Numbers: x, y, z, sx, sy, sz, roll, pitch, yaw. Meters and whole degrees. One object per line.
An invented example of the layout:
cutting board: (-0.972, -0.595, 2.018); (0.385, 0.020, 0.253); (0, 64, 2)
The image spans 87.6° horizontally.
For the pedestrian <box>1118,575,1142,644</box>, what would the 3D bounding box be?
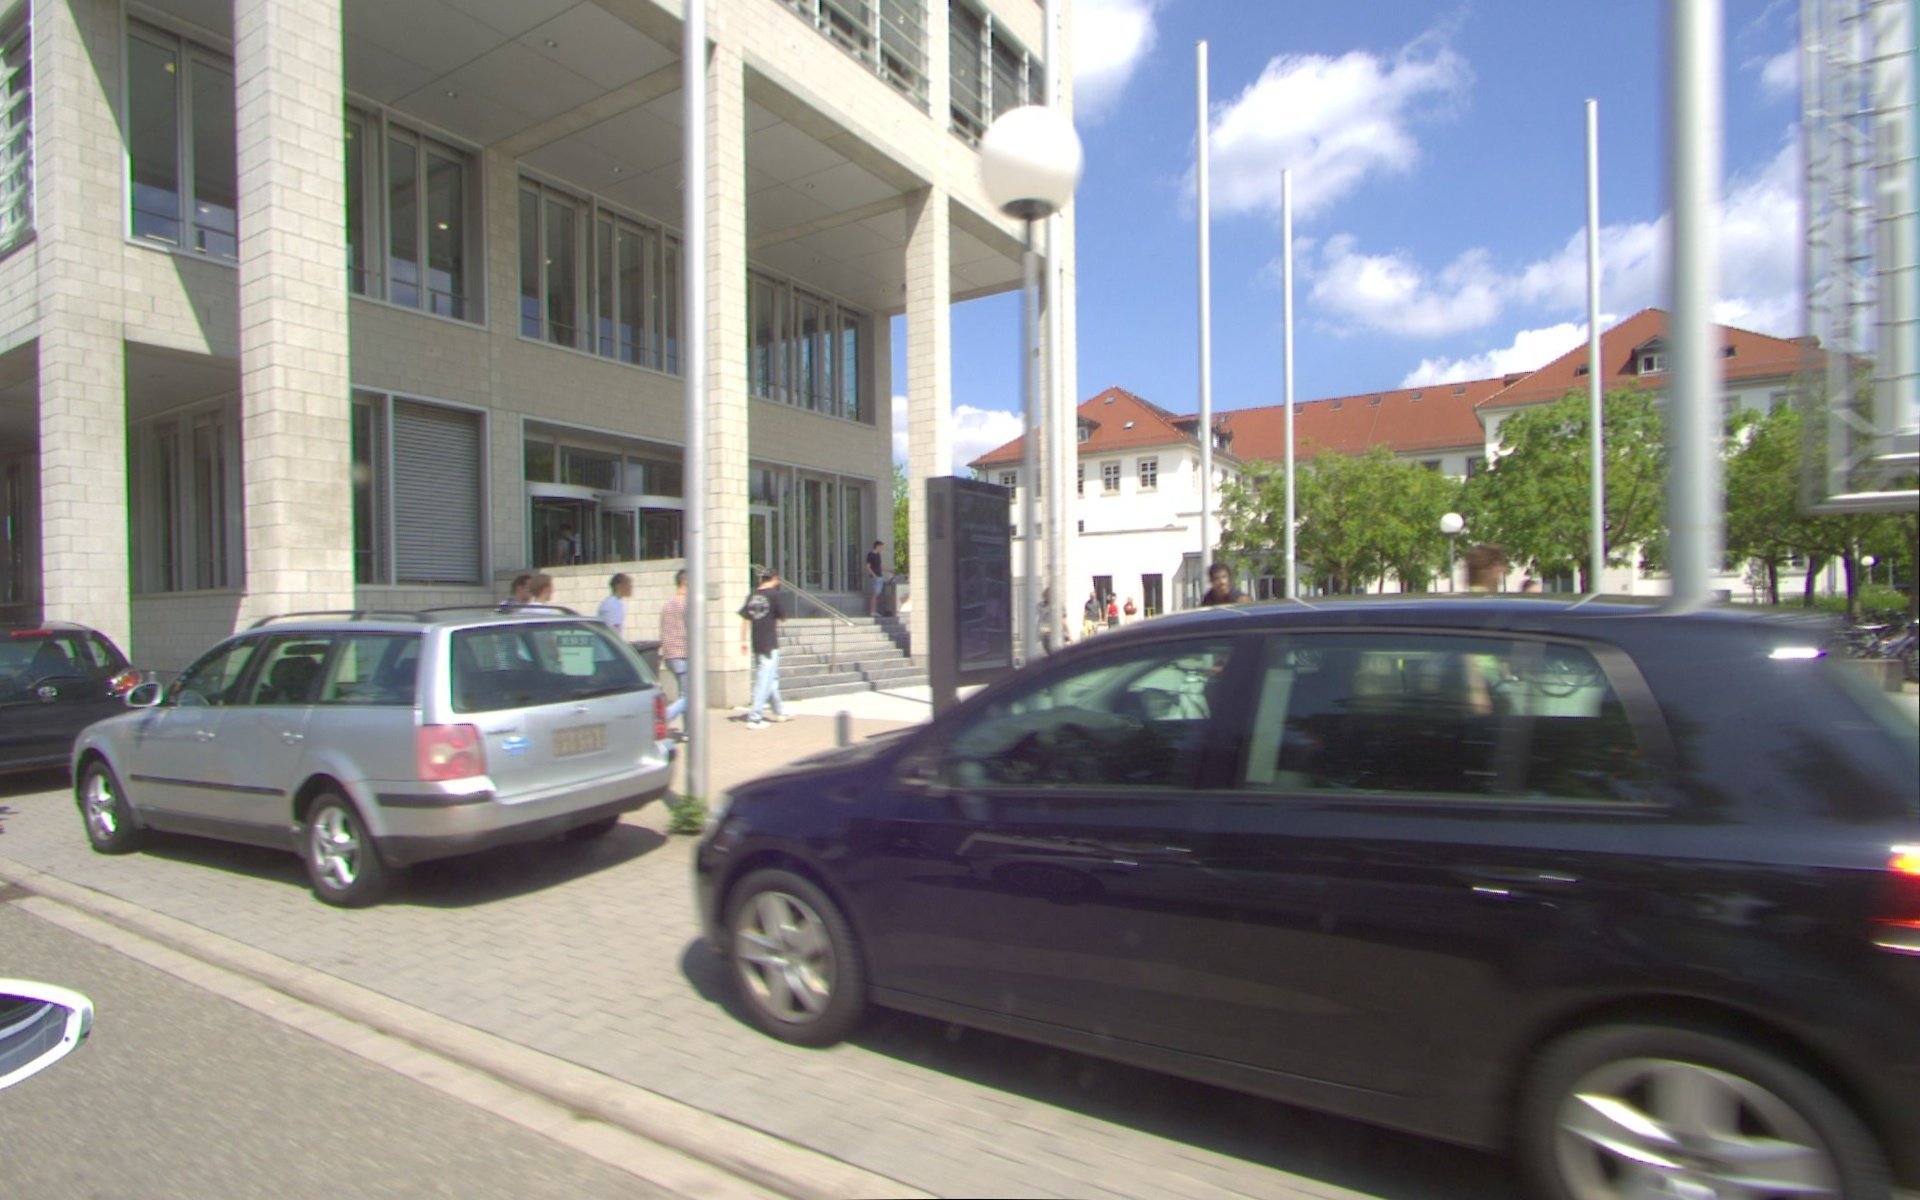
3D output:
pedestrian: (5.704, 0.319, 33.592); (0.622, 2.258, 0.716); (-2, 0, 2)

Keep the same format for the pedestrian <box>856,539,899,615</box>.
pedestrian: (-2.063, -0.556, 24.985); (0.707, 1.821, 0.715); (-3, -1, 35)

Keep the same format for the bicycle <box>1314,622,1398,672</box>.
bicycle: (9.520, 1.113, 24.083); (1.733, 1.113, 0.604); (-2, -1, 1)

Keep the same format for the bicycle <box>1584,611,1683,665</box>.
bicycle: (14.970, 0.852, 22.287); (1.733, 1.113, 0.604); (-2, -1, 1)

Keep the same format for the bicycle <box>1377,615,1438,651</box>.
bicycle: (15.082, 1.113, 33.785); (1.733, 1.113, 0.604); (-2, -1, 1)

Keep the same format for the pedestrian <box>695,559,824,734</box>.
pedestrian: (-2.350, 0.527, 11.821); (1.006, 1.945, 1.092); (-1, 0, 33)

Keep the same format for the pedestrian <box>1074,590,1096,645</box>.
pedestrian: (4.196, 0.590, 33.661); (0.622, 1.800, 0.716); (-2, -1, 2)

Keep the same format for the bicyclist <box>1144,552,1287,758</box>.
bicyclist: (2.081, 0.425, 8.197); (0.917, 1.585, 0.661); (-1, 1, -20)

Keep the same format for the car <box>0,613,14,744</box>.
car: (-13.167, 0.925, 11.825); (4.455, 1.483, 1.862); (-1, 0, 32)

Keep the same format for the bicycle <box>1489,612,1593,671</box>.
bicycle: (11.879, 0.849, 20.511); (1.733, 1.113, 0.604); (-2, -1, 1)

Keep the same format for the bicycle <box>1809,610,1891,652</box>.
bicycle: (25.342, 0.891, 28.516); (1.733, 1.113, 0.604); (-2, -1, 1)

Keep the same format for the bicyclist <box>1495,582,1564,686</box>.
bicyclist: (9.061, 0.520, 15.933); (0.868, 1.590, 0.678); (1, 1, 37)

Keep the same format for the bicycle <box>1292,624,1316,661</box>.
bicycle: (8.030, 0.976, 23.340); (0.511, 0.803, 1.764); (-1, 0, 20)

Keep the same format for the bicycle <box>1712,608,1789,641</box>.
bicycle: (23.326, 0.721, 29.567); (1.733, 0.880, 0.604); (-2, -1, 1)

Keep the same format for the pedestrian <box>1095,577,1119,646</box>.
pedestrian: (4.913, 0.395, 33.468); (0.622, 2.258, 0.716); (-2, 0, 2)

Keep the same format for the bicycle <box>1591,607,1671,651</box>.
bicycle: (18.408, 0.796, 27.479); (1.733, 1.113, 0.604); (-2, -1, 1)

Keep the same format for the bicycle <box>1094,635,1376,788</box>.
bicycle: (2.270, 0.865, 8.304); (2.117, 1.093, 0.902); (-1, 0, -19)

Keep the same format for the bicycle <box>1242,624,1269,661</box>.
bicycle: (7.046, 0.994, 23.868); (0.511, 0.803, 1.764); (-1, 0, 20)

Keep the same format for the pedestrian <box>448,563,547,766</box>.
pedestrian: (-4.697, 0.624, 10.164); (0.774, 1.951, 0.729); (-1, 0, -36)

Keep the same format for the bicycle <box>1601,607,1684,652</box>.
bicycle: (18.143, 0.787, 26.621); (1.733, 1.113, 0.604); (-2, -1, 1)

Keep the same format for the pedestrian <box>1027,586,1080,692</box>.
pedestrian: (1.503, 0.613, 16.162); (0.724, 1.661, 0.691); (-1, 0, -6)

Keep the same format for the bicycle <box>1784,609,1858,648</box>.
bicycle: (26.854, 0.894, 31.251); (1.733, 1.113, 0.604); (-2, -1, 1)

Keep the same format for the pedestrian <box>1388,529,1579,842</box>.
pedestrian: (3.303, 0.490, 6.296); (0.987, 1.763, 0.916); (-1, 0, 32)

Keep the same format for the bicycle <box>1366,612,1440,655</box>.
bicycle: (12.350, 0.938, 27.950); (1.733, 1.113, 0.604); (-2, -1, 1)

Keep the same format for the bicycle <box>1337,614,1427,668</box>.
bicycle: (9.531, 0.920, 22.627); (1.733, 1.113, 0.604); (-2, -1, 1)

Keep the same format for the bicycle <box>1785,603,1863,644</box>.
bicycle: (25.415, 0.695, 29.469); (1.733, 1.113, 0.604); (-2, -1, 1)

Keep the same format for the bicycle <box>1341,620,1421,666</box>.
bicycle: (10.774, 1.098, 25.661); (1.733, 1.113, 0.604); (-2, -1, 1)

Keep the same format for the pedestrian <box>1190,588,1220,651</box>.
pedestrian: (7.036, 0.557, 28.776); (0.622, 1.769, 0.716); (-2, -1, 0)

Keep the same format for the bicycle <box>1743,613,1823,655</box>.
bicycle: (23.509, 0.972, 28.613); (1.733, 1.113, 0.604); (-2, -1, 1)

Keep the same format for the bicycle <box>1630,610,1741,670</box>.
bicycle: (14.609, 0.799, 20.195); (1.733, 1.113, 0.604); (-2, -1, 1)

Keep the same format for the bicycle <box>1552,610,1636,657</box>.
bicycle: (16.388, 0.863, 25.891); (1.733, 1.113, 0.604); (-2, -1, 1)

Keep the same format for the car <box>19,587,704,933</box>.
car: (-3.935, 0.754, 6.398); (4.497, 1.550, 1.716); (-1, 1, 29)

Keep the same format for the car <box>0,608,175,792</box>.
car: (-9.410, 0.863, 9.651); (3.948, 1.516, 1.611); (-1, 0, 31)

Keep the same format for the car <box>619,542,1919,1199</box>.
car: (0.870, 0.697, 3.331); (3.944, 1.549, 1.715); (-1, 0, 33)

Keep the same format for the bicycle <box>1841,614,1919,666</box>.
bicycle: (21.614, 0.922, 23.240); (1.733, 1.113, 0.604); (-2, -1, 1)

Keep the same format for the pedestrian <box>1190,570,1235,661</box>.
pedestrian: (6.461, 0.392, 25.618); (0.839, 2.258, 0.634); (-2, 0, -12)

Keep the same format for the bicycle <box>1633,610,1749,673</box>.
bicycle: (14.043, 0.791, 19.266); (1.733, 1.113, 0.604); (-2, -1, 1)

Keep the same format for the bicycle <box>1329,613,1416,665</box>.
bicycle: (9.613, 0.906, 23.347); (1.733, 1.113, 0.604); (-2, -1, 1)

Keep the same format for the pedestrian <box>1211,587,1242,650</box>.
pedestrian: (7.728, 0.534, 29.054); (0.622, 1.769, 0.716); (-2, -1, 0)

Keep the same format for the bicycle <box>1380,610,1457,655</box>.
bicycle: (12.202, 0.873, 26.696); (1.733, 1.113, 0.604); (-2, -1, 1)

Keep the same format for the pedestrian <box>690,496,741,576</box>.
pedestrian: (-5.217, -1.353, 21.407); (0.707, 1.605, 0.715); (-3, -1, 35)

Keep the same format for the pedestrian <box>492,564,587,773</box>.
pedestrian: (-4.115, 0.640, 9.783); (0.774, 1.951, 0.590); (-1, 0, -29)

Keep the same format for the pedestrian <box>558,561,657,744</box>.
pedestrian: (-3.930, 0.570, 11.192); (0.740, 1.951, 0.722); (-1, 0, 30)

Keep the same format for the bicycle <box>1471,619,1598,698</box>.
bicycle: (9.102, 0.896, 15.900); (1.670, 1.153, 0.678); (1, 1, 38)

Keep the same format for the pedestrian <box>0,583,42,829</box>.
pedestrian: (-7.329, 0.759, 7.102); (1.020, 1.740, 0.624); (-1, 1, 0)
